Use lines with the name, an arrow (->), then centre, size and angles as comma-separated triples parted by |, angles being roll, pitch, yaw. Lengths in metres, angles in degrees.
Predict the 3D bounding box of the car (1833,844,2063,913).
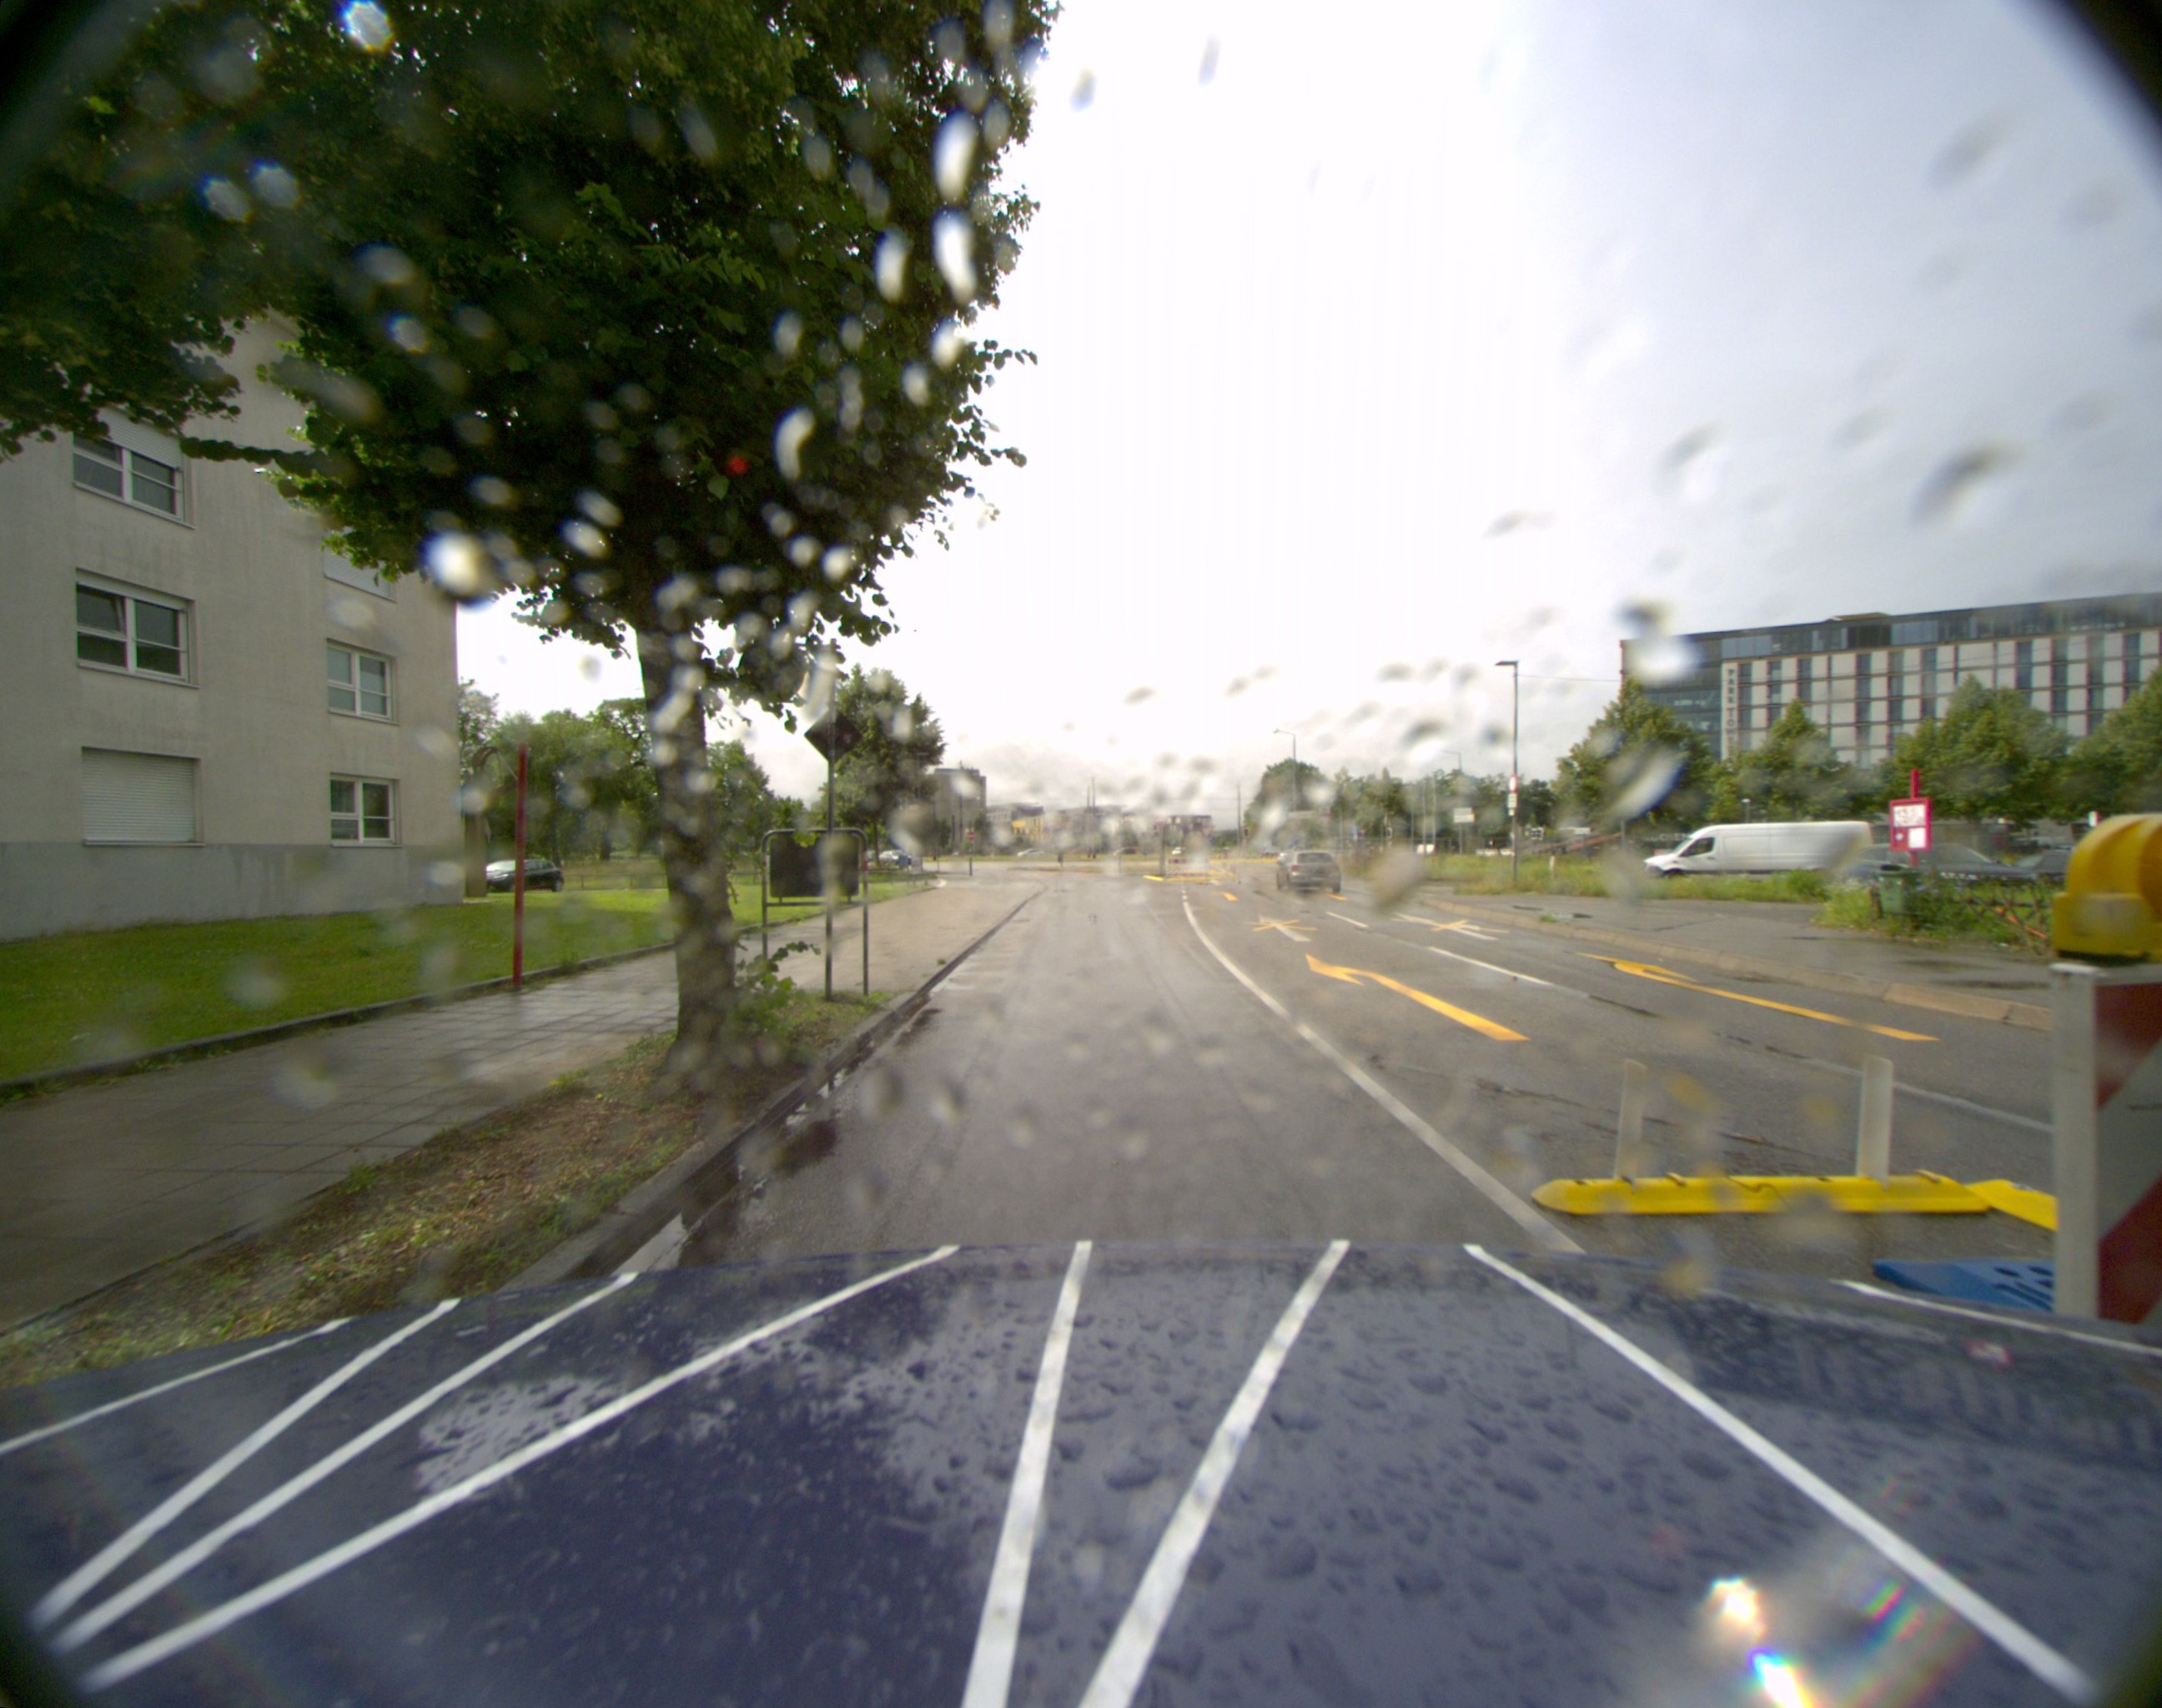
car -> 22.541, 0.564, 20.066 | 1.757, 1.608, 4.330 | -1, 0, 12

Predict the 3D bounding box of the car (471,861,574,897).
car -> -22.612, 0.960, 30.946 | 1.391, 1.318, 3.875 | 0, 0, -1

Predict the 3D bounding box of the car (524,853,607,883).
car -> -28.815, 0.741, 42.646 | 1.934, 1.539, 3.999 | 0, 0, -1

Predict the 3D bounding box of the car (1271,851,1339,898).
car -> 7.852, 0.671, 26.894 | 1.683, 1.499, 3.795 | 0, 0, 7

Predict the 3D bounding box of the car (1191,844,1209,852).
car -> 21.798, -1.096, 139.097 | 1.664, 1.521, 3.487 | -1, 0, 39

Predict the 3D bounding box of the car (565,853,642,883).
car -> -26.803, 0.752, 42.788 | 1.934, 1.539, 3.771 | 0, 0, -1

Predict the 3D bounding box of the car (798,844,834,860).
car -> -28.129, -0.208, 80.548 | 4.217, 1.704, 1.897 | 0, 1, 44

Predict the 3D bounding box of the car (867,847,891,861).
car -> -25.698, -0.070, 96.782 | 1.868, 1.740, 3.999 | 0, 0, 0

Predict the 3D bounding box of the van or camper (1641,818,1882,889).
van or camper -> 27.317, -0.015, 31.016 | 6.963, 2.632, 2.516 | 0, 1, 31

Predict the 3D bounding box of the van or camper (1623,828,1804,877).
van or camper -> 30.073, -0.066, 36.514 | 6.381, 2.176, 2.445 | 0, 1, 31

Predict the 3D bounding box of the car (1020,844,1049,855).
car -> -7.170, -0.669, 117.625 | 4.123, 1.521, 1.666 | -1, 0, -25

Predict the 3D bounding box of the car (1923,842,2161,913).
car -> 24.554, 0.517, 19.519 | 1.757, 1.608, 4.262 | -1, 0, 12

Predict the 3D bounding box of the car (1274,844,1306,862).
car -> 17.235, -0.089, 62.443 | 1.739, 1.406, 4.186 | -1, 1, 27

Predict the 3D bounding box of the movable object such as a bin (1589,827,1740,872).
movable object such as a bin -> 33.076, -0.228, 43.444 | 6.596, 2.373, 2.681 | 0, 1, 31
